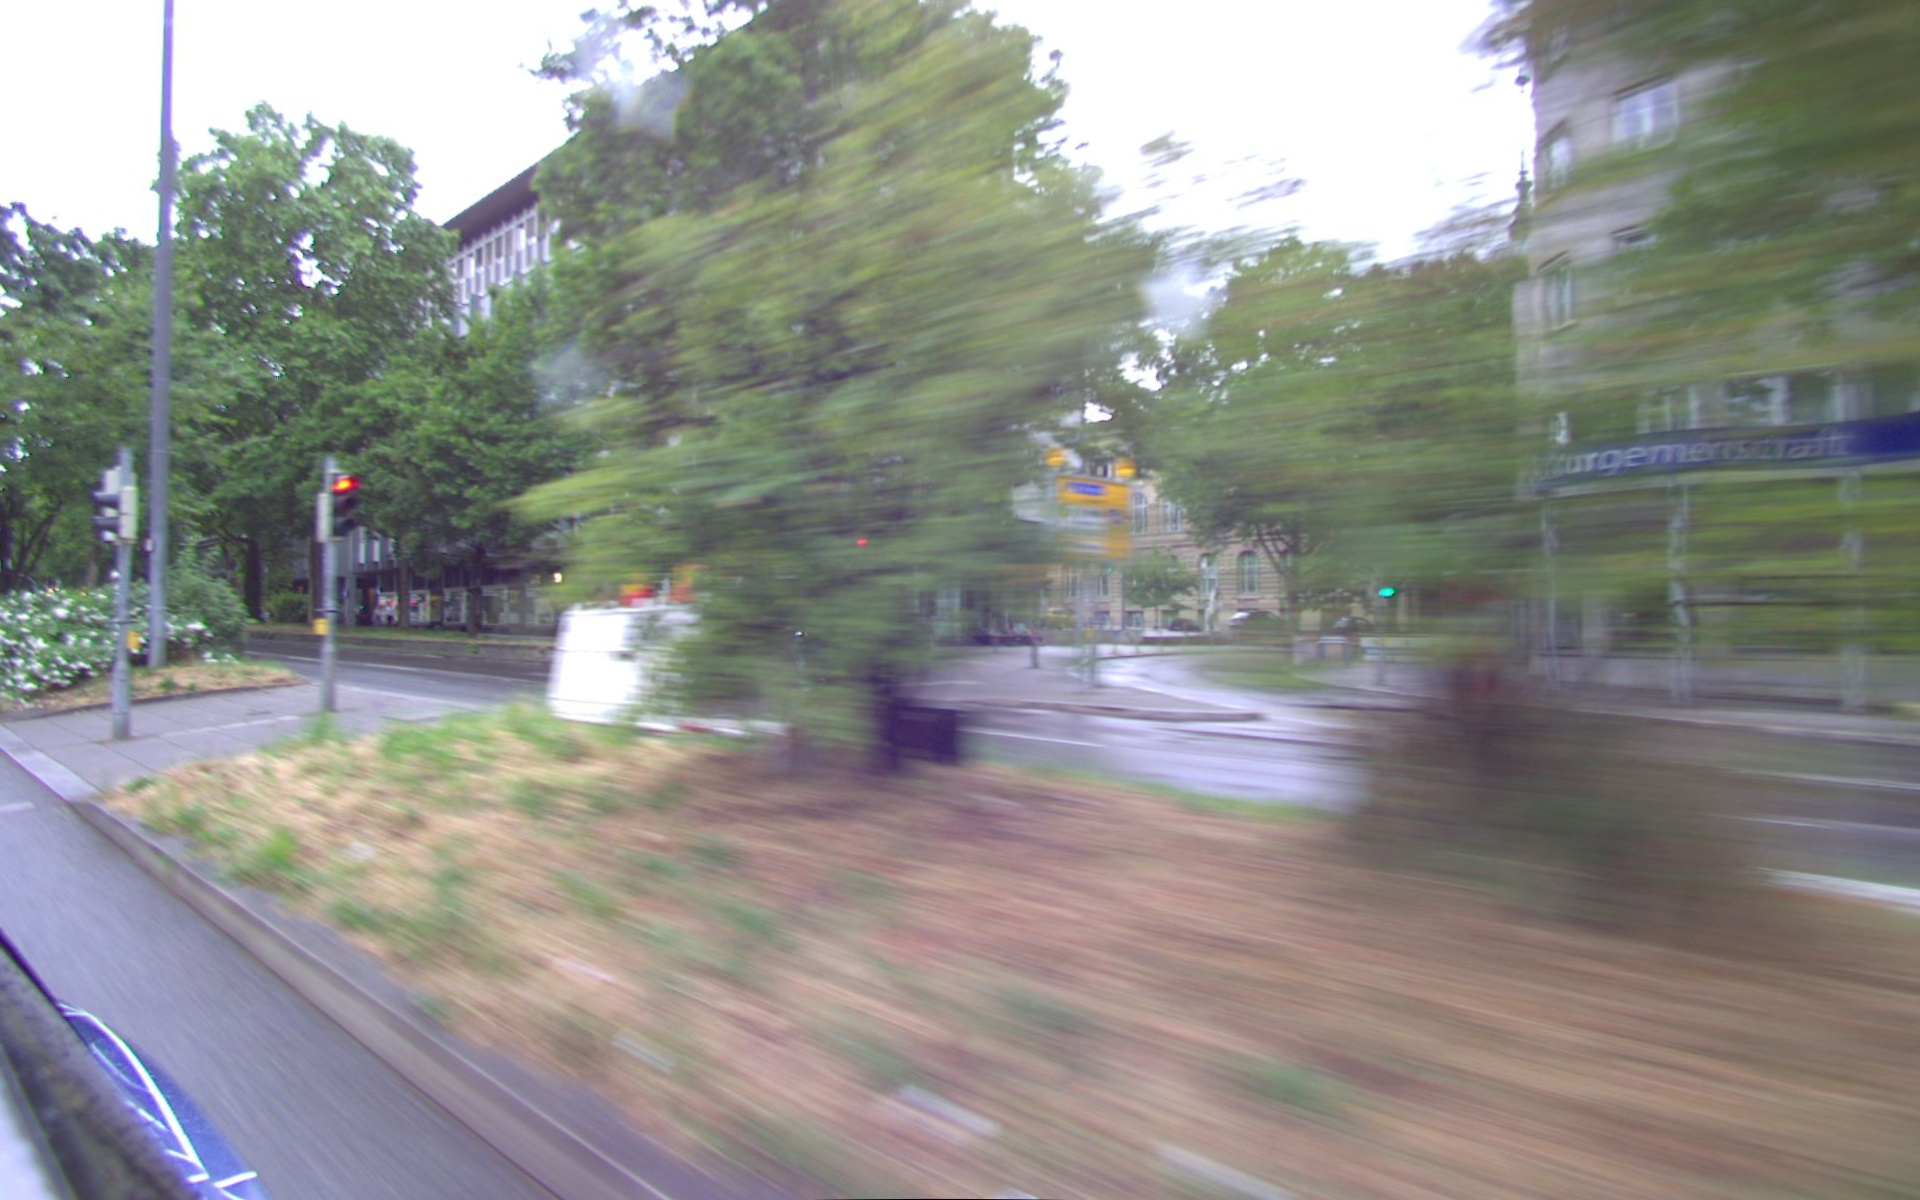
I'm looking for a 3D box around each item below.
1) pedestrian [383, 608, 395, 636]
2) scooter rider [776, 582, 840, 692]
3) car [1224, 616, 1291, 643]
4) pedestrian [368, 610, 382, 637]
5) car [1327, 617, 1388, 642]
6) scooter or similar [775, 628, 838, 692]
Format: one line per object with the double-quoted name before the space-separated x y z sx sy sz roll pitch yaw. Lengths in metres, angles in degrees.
"pedestrian" -36.702 1.417 65.048 0.522 1.821 0.542 -1 -1 42
"scooter rider" -2.789 0.663 18.554 0.756 1.955 0.891 -1 -1 39
"car" 18.000 1.774 61.181 3.915 1.564 1.749 0 -1 -32
"pedestrian" -37.187 1.499 64.344 0.686 1.721 0.557 -1 -1 42
"car" 26.296 1.963 66.888 3.915 1.564 1.749 0 -1 -32
"scooter or similar" -2.804 1.077 18.558 0.434 1.122 1.170 -1 -1 38
